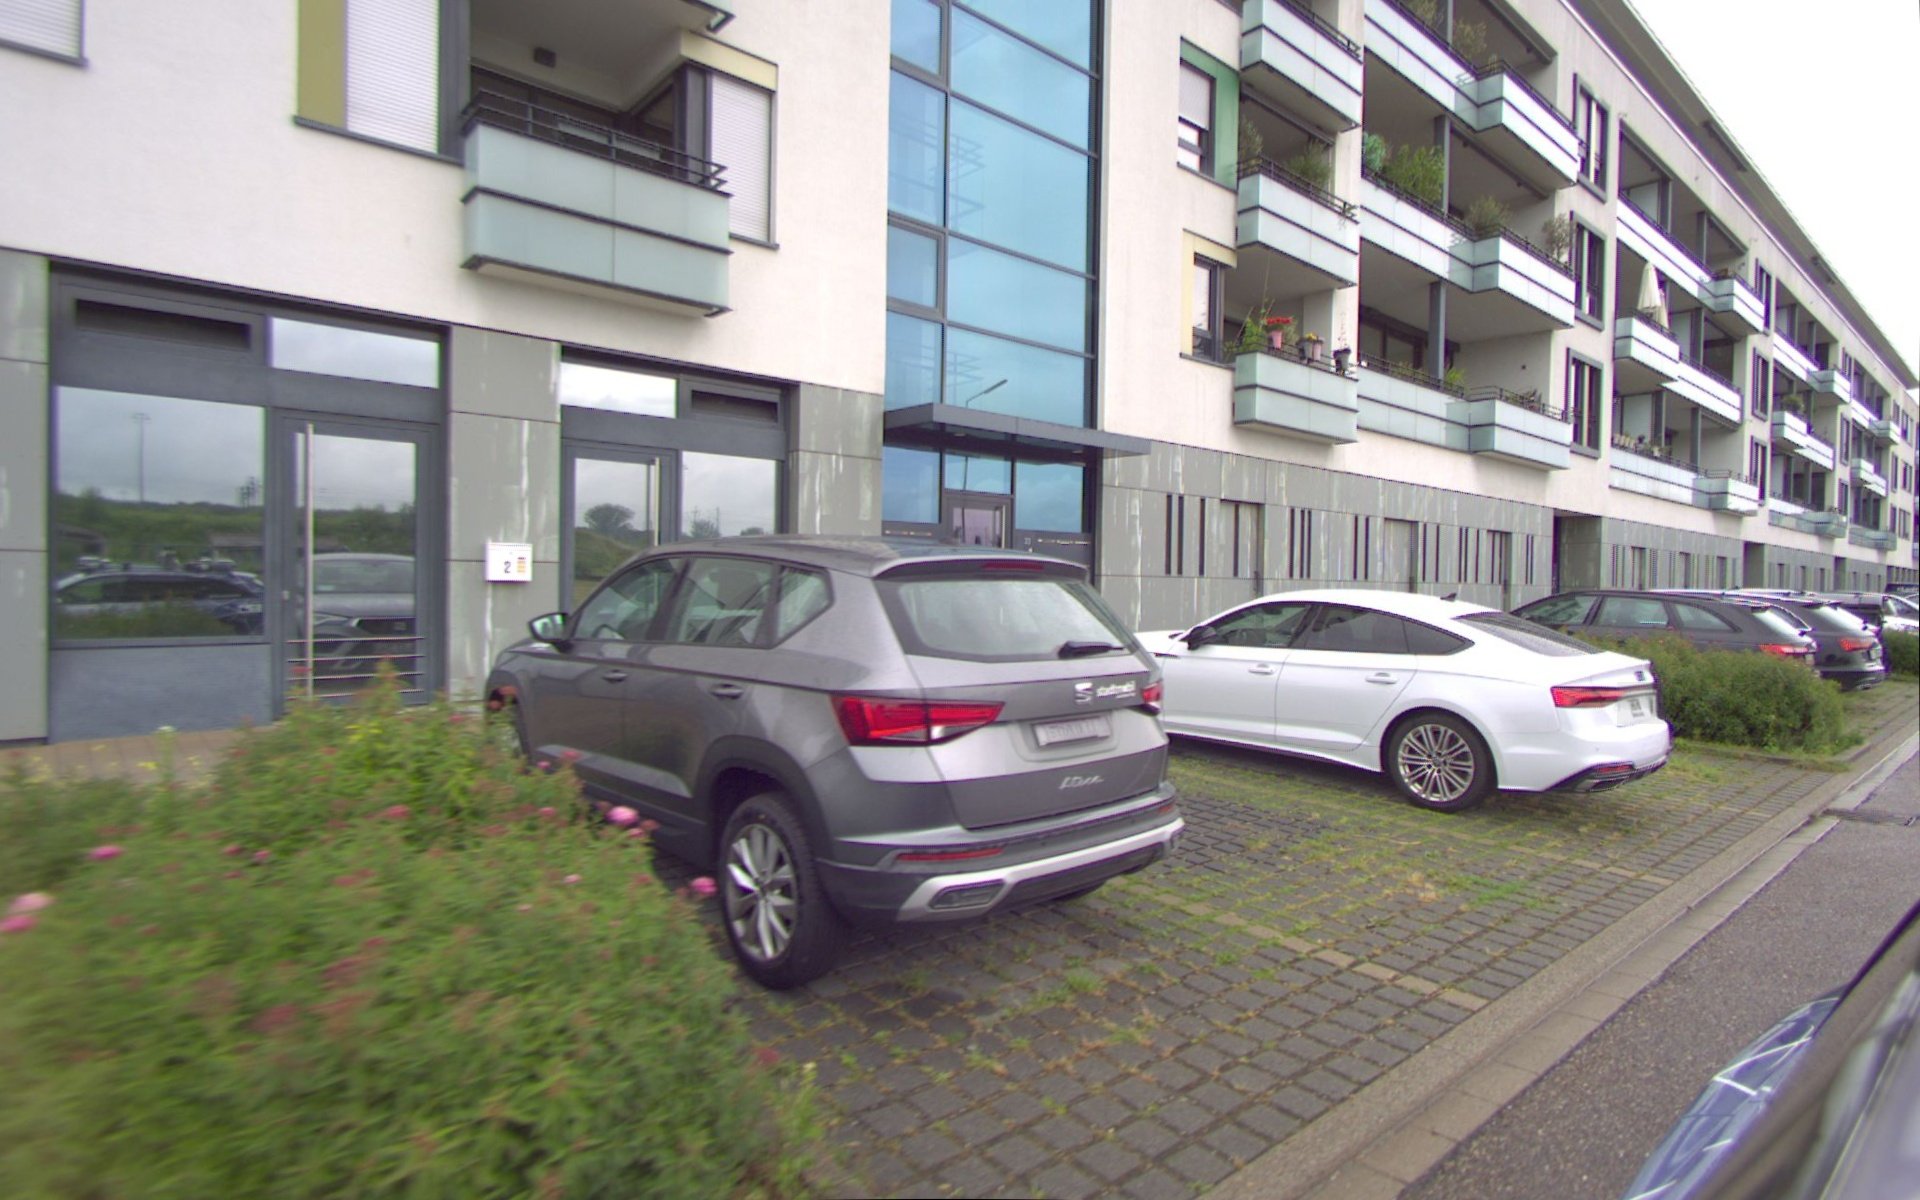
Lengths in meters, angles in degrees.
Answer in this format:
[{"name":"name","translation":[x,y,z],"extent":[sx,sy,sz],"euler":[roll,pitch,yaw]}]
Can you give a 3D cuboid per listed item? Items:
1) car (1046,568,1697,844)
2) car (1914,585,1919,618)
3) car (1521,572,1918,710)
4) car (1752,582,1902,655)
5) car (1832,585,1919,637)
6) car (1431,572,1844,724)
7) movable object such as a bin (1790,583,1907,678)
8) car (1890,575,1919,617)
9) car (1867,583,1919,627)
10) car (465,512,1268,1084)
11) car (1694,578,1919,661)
[{"name":"car","translation":[2.935,0.548,8.067],"extent":[1.877,1.422,4.418],"euler":[0,4,-41]},{"name":"car","translation":[50.550,0.200,50.122],"extent":[2.043,1.621,4.435],"euler":[0,3,-36]},{"name":"car","translation":[10.447,0.438,14.167],"extent":[2.021,1.515,4.070],"euler":[0,3,-40]},{"name":"car","translation":[20.883,0.401,24.422],"extent":[2.624,1.525,1.188],"euler":[5,3,43]},{"name":"car","translation":[30.634,0.384,32.406],"extent":[1.731,1.509,3.855],"euler":[0,3,-40]},{"name":"car","translation":[8.397,0.467,12.820],"extent":[1.847,1.497,3.994],"euler":[0,3,-42]},{"name":"movable object such as a bin","translation":[15.214,0.481,17.323],"extent":[1.554,1.545,1.303],"euler":[0,0,-41]},{"name":"car","translation":[47.097,-0.076,47.314],"extent":[1.947,1.952,5.061],"euler":[0,3,-41]},{"name":"car","translation":[37.744,0.217,38.829],"extent":[1.658,1.664,4.215],"euler":[-1,3,-41]},{"name":"car","translation":[-0.829,0.434,5.067],"extent":[1.933,1.643,4.097],"euler":[0,4,-42]},{"name":"car","translation":[19.522,0.380,22.915],"extent":[1.860,1.548,4.356],"euler":[0,4,-40]}]
